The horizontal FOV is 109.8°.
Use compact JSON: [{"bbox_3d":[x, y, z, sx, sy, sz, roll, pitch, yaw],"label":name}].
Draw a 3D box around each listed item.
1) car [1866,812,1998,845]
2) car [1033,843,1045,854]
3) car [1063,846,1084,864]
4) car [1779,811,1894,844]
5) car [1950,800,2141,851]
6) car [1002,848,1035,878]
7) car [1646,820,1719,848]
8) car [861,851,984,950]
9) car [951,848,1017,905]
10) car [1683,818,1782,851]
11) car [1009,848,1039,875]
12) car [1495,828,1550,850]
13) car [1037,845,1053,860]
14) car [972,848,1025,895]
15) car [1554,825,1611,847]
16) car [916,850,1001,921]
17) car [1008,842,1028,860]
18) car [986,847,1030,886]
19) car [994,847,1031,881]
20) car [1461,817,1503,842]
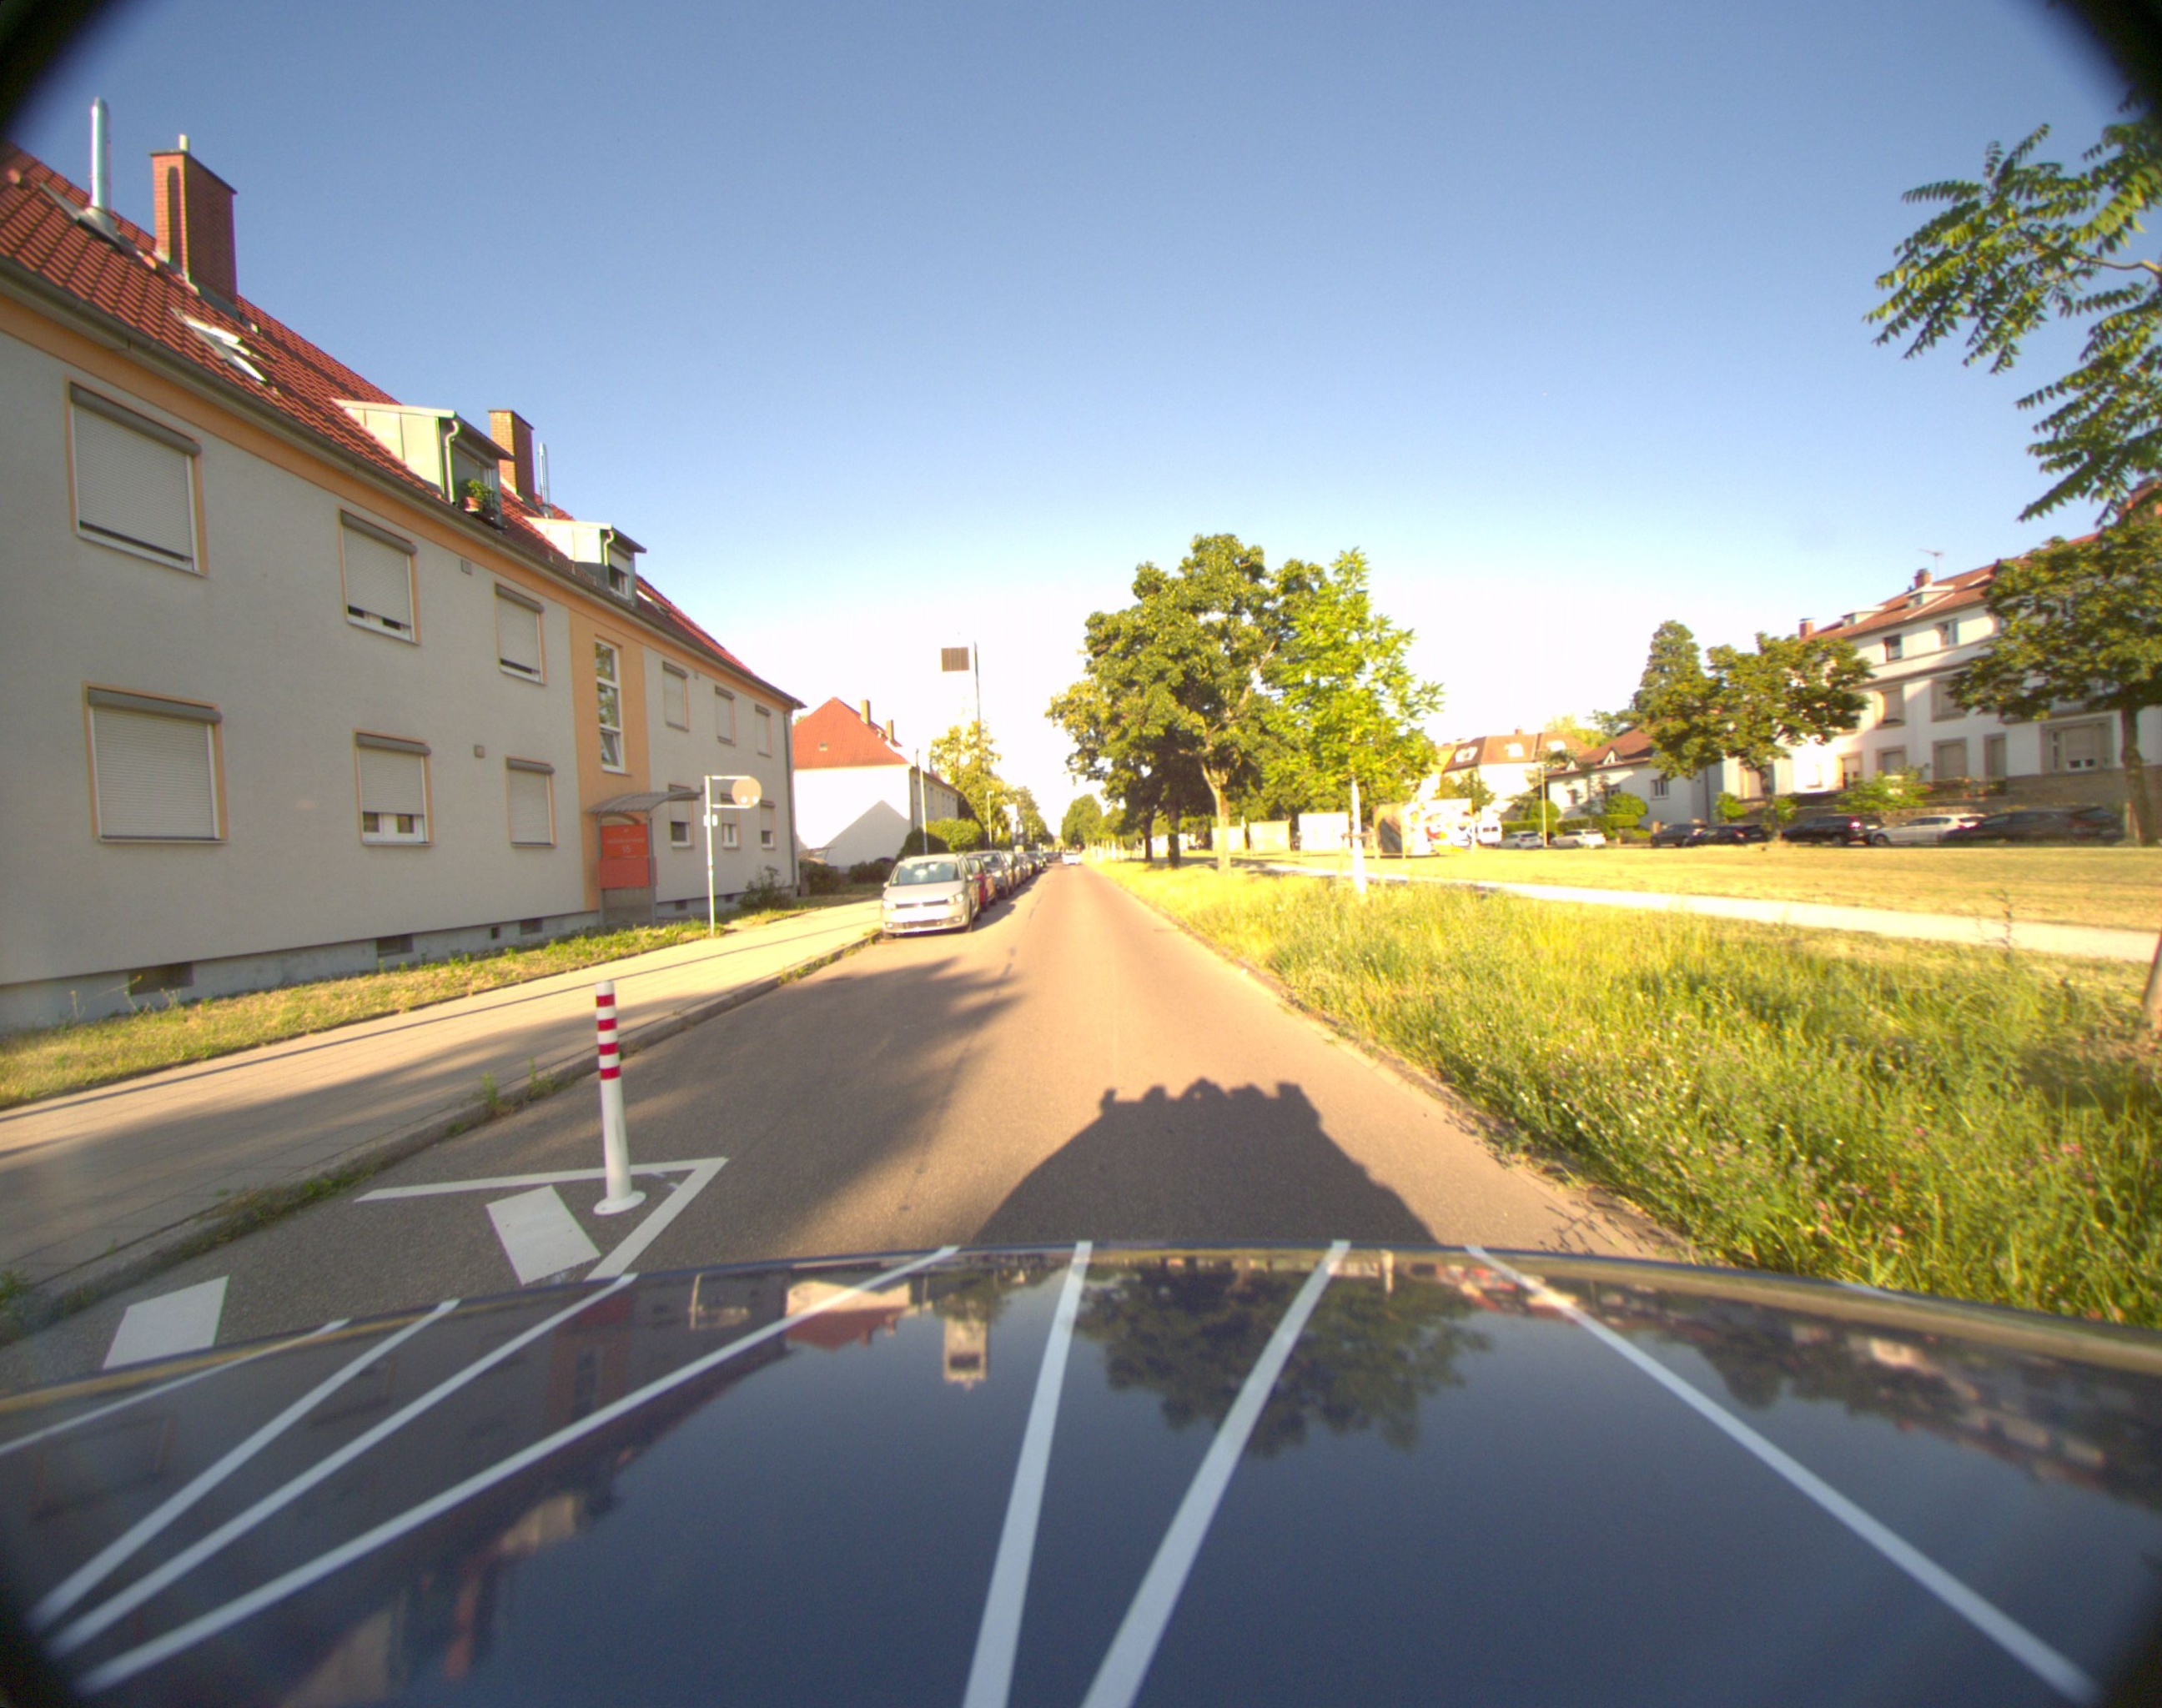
[{"bbox_3d":[39.616,-1.149,35.520,1.641,1.438,4.007,-2,1,-2],"label":"car"},{"bbox_3d":[-6.912,-0.858,124.930,1.850,1.686,3.998,-4,1,-3],"label":"car"},{"bbox_3d":[-0.805,0.047,80.291,1.870,1.686,4.299,-4,1,-3],"label":"car"},{"bbox_3d":[39.532,-1.337,39.904,1.825,1.571,4.161,-3,1,-1],"label":"car"},{"bbox_3d":[33.686,-0.962,26.734,1.825,1.571,3.835,-3,1,-1],"label":"car"},{"bbox_3d":[-3.940,0.522,48.736,1.850,1.686,3.998,-4,1,-3],"label":"car"},{"bbox_3d":[39.175,-1.301,49.615,1.642,1.652,3.999,-3,1,1],"label":"car"},{"bbox_3d":[-3.228,0.869,16.250,1.850,1.686,3.998,-4,1,-3],"label":"car"},{"bbox_3d":[-3.295,0.705,26.565,1.850,1.686,3.998,-4,1,-3],"label":"car"},{"bbox_3d":[33.793,-0.980,39.559,1.825,1.571,3.835,-3,1,-1],"label":"car"},{"bbox_3d":[-3.930,0.493,53.214,1.850,1.686,3.998,-4,1,-3],"label":"car"},{"bbox_3d":[33.453,-1.117,57.653,1.825,1.571,3.835,-3,1,-1],"label":"car"},{"bbox_3d":[-4.676,-0.218,98.942,1.850,1.686,3.998,-4,1,-3],"label":"car"},{"bbox_3d":[-3.416,0.675,31.990,1.850,1.686,3.998,-4,1,-3],"label":"car"},{"bbox_3d":[39.247,-1.379,59.569,1.825,1.571,3.966,-3,1,-1],"label":"car"},{"bbox_3d":[-3.380,0.798,21.728,1.850,1.686,3.998,-4,1,-3],"label":"car"},{"bbox_3d":[-6.529,-0.375,79.210,1.850,1.686,3.998,-4,1,-3],"label":"car"},{"bbox_3d":[-3.586,0.575,37.892,1.850,1.686,3.998,-4,1,-3],"label":"car"},{"bbox_3d":[-3.833,0.512,43.152,1.850,1.686,3.998,-4,1,-3],"label":"car"},{"bbox_3d":[38.719,-2.343,73.479,1.998,2.201,4.131,-3,1,2],"label":"car"}]
